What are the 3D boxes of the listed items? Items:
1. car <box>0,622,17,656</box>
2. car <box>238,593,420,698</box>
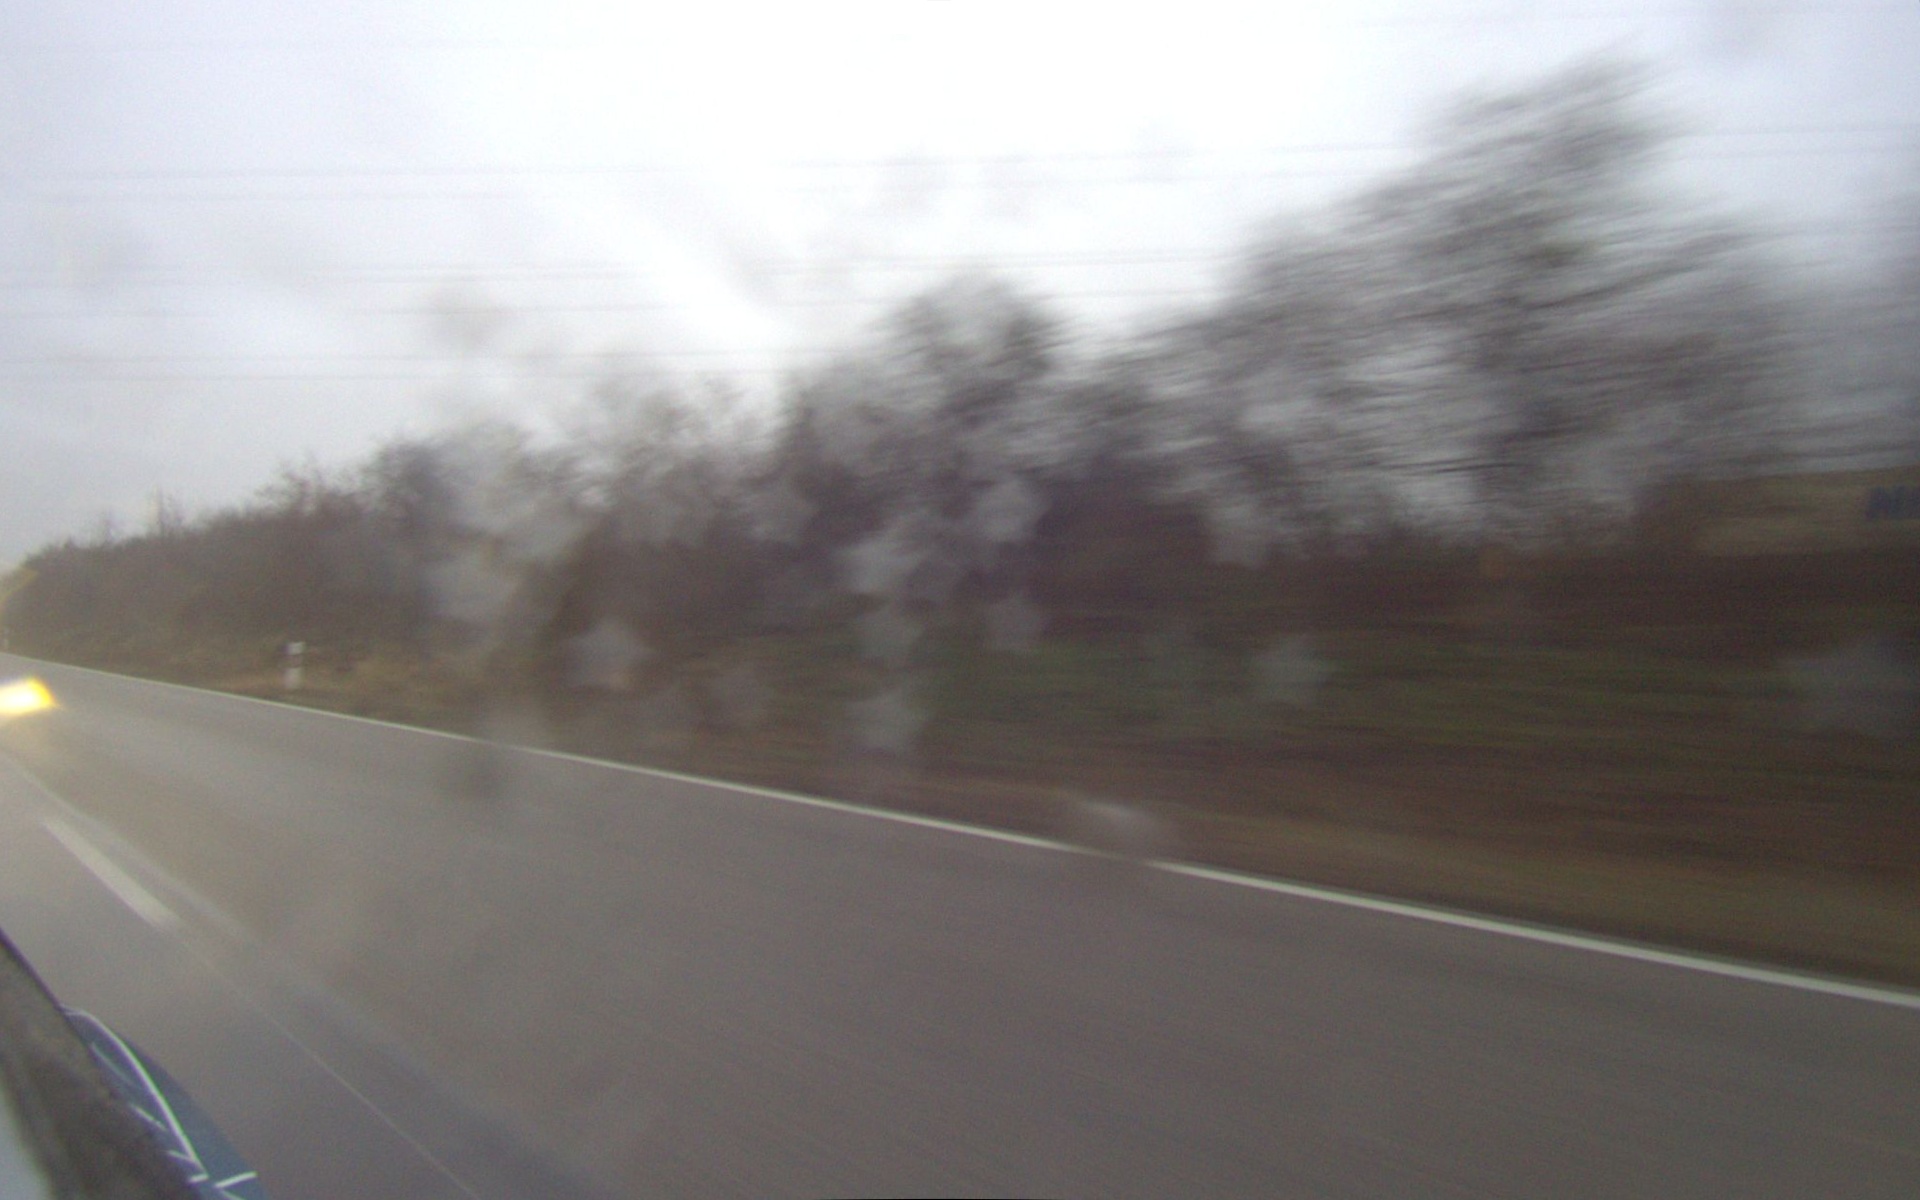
[{"bbox_3d":[-48.476,1.923,50.477,3.772,1.621,1.757,-1,-2,42],"label":"car"},{"bbox_3d":[-12.355,0.817,19.726,3.999,1.798,1.972,-1,0,42],"label":"car"}]
